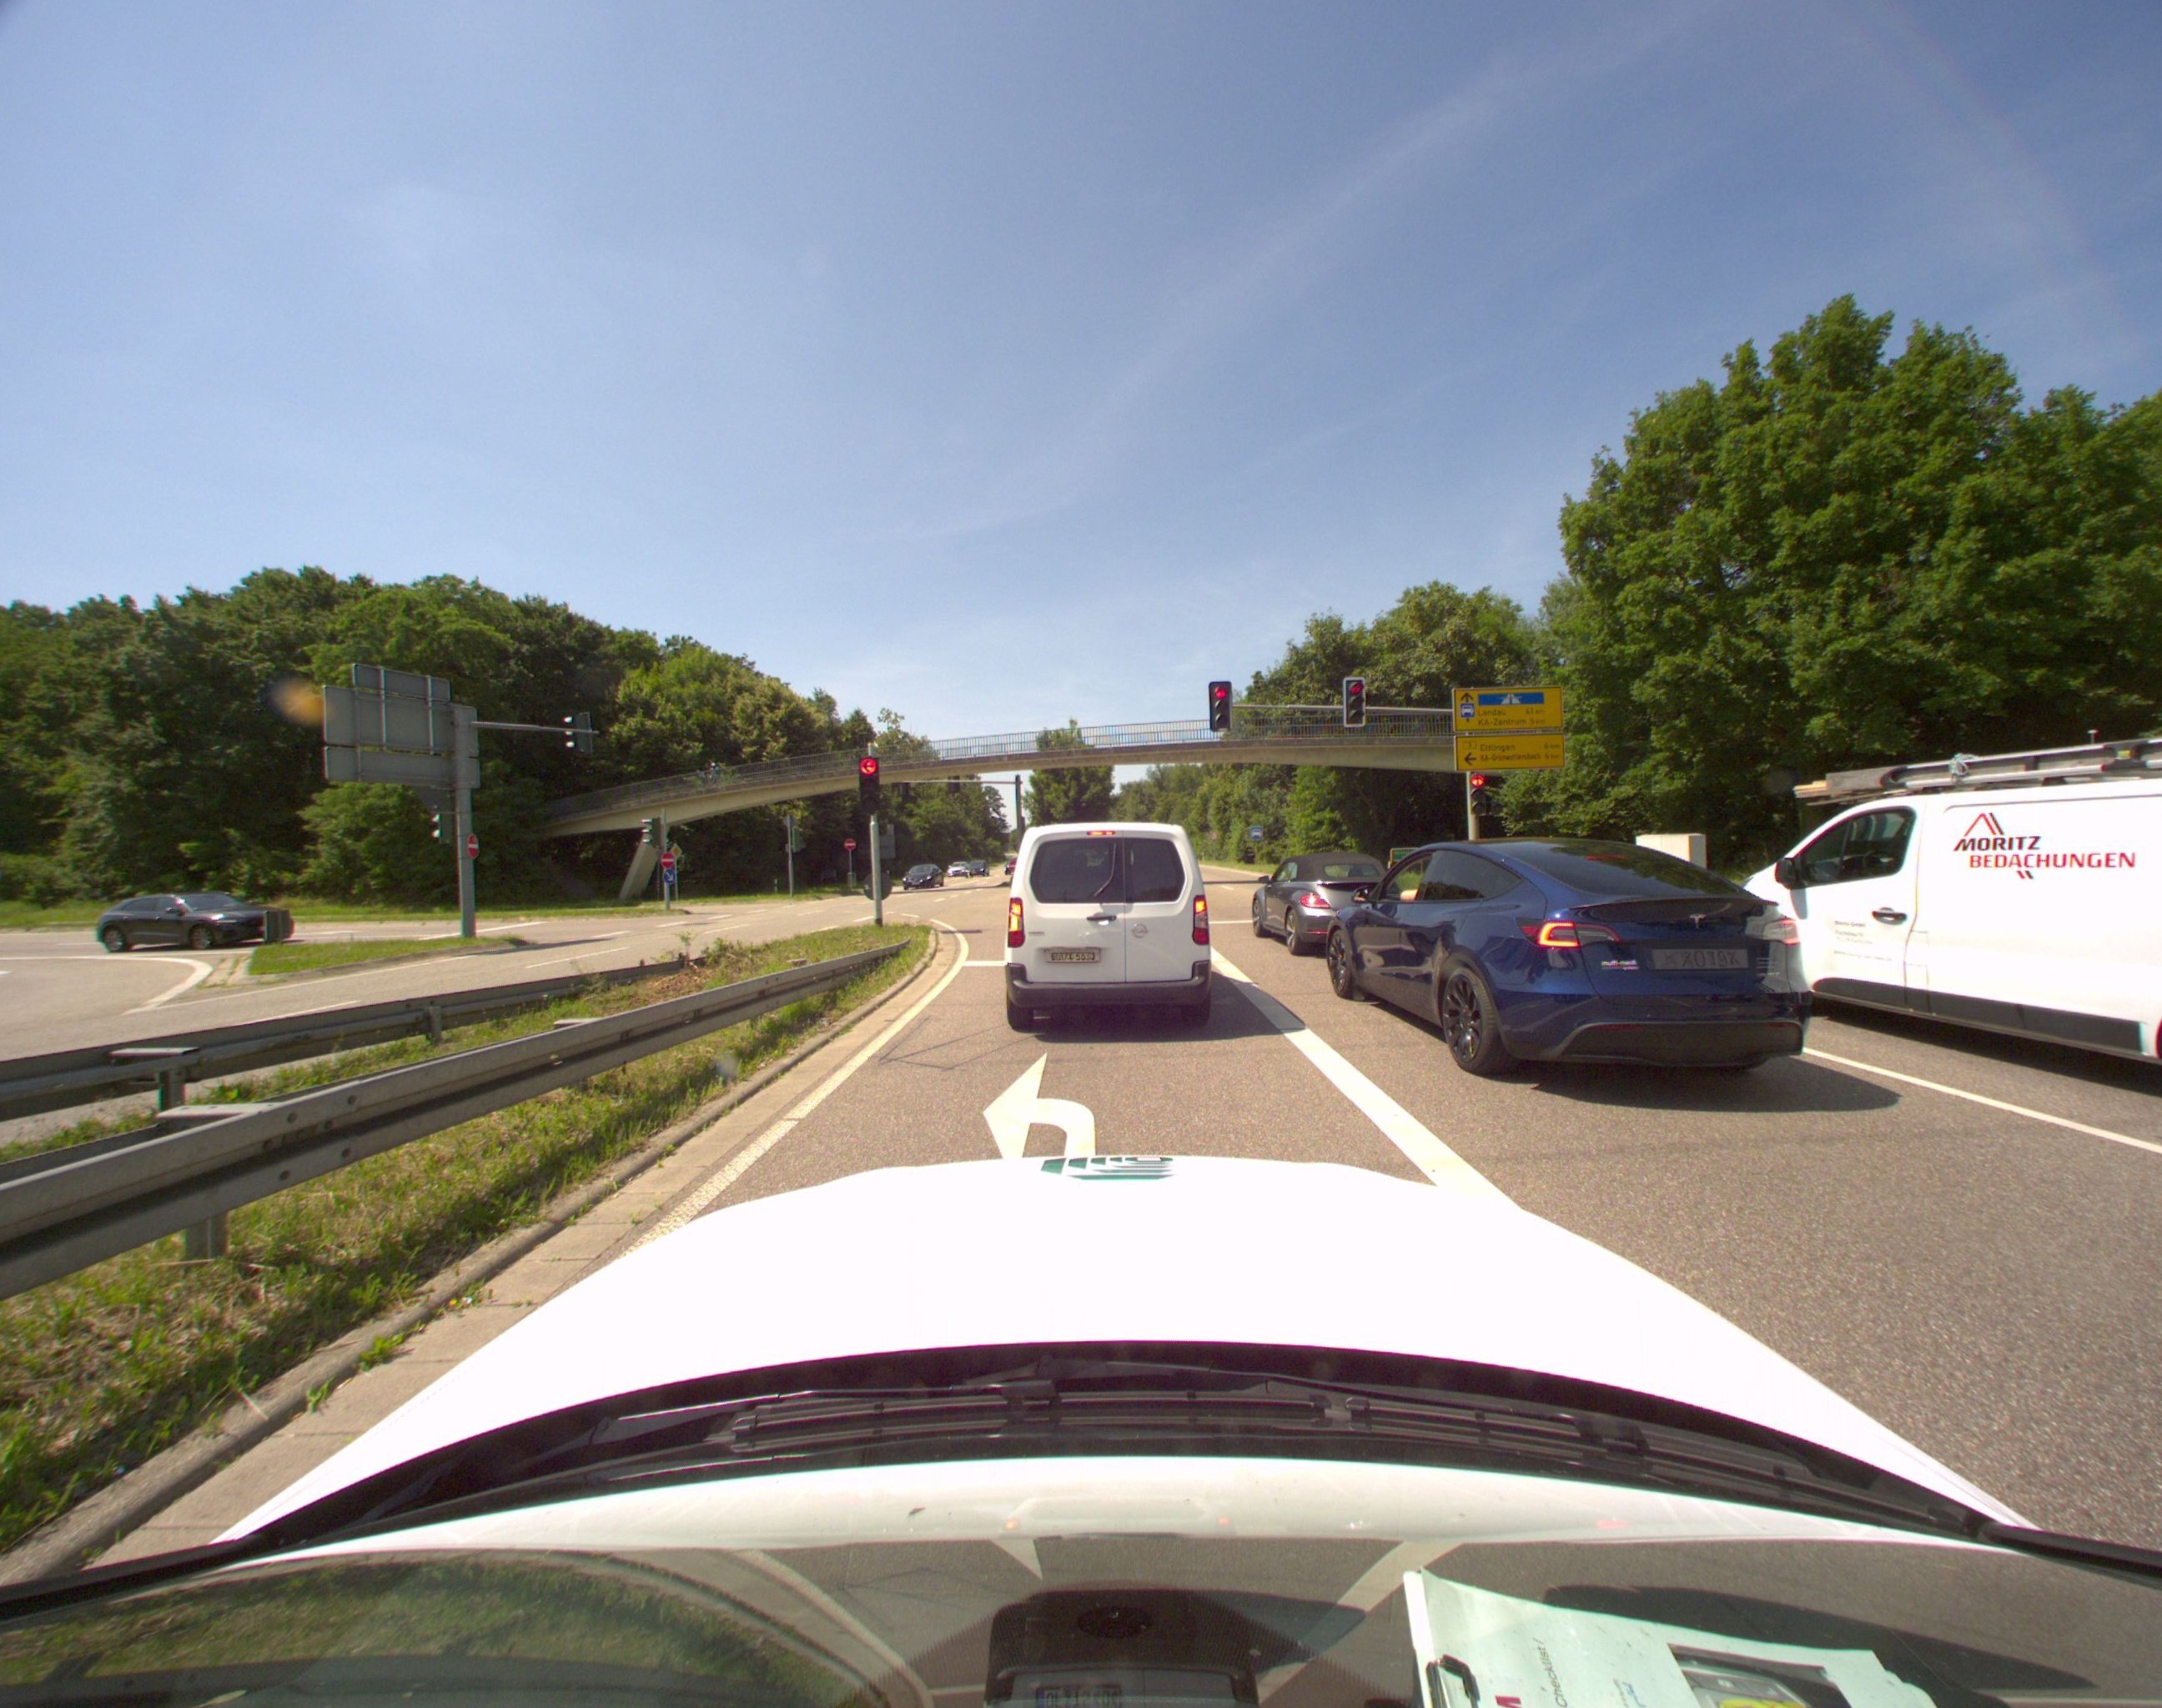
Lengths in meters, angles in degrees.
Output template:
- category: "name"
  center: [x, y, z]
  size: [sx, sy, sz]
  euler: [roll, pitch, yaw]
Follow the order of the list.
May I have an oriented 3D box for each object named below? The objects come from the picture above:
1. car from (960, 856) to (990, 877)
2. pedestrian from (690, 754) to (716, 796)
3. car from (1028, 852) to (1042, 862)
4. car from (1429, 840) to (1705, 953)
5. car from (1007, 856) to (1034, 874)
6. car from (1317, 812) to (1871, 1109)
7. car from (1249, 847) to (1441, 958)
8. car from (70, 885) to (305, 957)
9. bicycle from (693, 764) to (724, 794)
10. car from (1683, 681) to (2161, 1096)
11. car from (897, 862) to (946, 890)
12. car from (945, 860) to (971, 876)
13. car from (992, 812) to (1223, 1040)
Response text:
- category: "car"
  center: [-9.581, 1.110, 73.892]
  size: [1.986, 1.665, 4.002]
  euler: [-3, 0, 2]
- category: "pedestrian"
  center: [-20.805, -4.323, 44.844]
  size: [0.776, 2.139, 0.936]
  euler: [-4, -2, 17]
- category: "car"
  center: [-7.834, 0.457, 140.008]
  size: [1.986, 1.665, 4.002]
  euler: [-3, 0, 2]
- category: "car"
  center: [7.380, 0.559, 12.988]
  size: [1.893, 1.478, 4.382]
  euler: [-1, 0, 2]
- category: "car"
  center: [-5.380, 0.977, 73.232]
  size: [1.986, 1.523, 4.029]
  euler: [1, 0, 2]
- category: "car"
  center: [3.521, 0.589, 6.817]
  size: [1.893, 1.644, 4.522]
  euler: [-1, 0, 2]
- category: "car"
  center: [3.984, 0.653, 13.013]
  size: [1.893, 1.478, 3.940]
  euler: [-1, 0, 2]
- category: "car"
  center: [-26.692, 1.975, 24.432]
  size: [5.043, 1.698, 2.053]
  euler: [-3, 3, 6]
- category: "bicycle"
  center: [-20.301, -4.075, 44.386]
  size: [1.514, 1.474, 0.472]
  euler: [-4, -2, 17]
- category: "car"
  center: [7.098, 0.187, 5.814]
  size: [1.925, 2.349, 5.076]
  euler: [-1, 0, 1]
- category: "car"
  center: [-9.619, 1.279, 49.368]
  size: [2.001, 1.460, 4.057]
  euler: [-3, 0, 2]
- category: "car"
  center: [-12.253, 1.382, 81.430]
  size: [1.746, 1.406, 4.002]
  euler: [-3, 0, 2]
- category: "car"
  center: [0.248, 0.555, 8.561]
  size: [1.843, 1.825, 3.982]
  euler: [-1, 1, 1]
